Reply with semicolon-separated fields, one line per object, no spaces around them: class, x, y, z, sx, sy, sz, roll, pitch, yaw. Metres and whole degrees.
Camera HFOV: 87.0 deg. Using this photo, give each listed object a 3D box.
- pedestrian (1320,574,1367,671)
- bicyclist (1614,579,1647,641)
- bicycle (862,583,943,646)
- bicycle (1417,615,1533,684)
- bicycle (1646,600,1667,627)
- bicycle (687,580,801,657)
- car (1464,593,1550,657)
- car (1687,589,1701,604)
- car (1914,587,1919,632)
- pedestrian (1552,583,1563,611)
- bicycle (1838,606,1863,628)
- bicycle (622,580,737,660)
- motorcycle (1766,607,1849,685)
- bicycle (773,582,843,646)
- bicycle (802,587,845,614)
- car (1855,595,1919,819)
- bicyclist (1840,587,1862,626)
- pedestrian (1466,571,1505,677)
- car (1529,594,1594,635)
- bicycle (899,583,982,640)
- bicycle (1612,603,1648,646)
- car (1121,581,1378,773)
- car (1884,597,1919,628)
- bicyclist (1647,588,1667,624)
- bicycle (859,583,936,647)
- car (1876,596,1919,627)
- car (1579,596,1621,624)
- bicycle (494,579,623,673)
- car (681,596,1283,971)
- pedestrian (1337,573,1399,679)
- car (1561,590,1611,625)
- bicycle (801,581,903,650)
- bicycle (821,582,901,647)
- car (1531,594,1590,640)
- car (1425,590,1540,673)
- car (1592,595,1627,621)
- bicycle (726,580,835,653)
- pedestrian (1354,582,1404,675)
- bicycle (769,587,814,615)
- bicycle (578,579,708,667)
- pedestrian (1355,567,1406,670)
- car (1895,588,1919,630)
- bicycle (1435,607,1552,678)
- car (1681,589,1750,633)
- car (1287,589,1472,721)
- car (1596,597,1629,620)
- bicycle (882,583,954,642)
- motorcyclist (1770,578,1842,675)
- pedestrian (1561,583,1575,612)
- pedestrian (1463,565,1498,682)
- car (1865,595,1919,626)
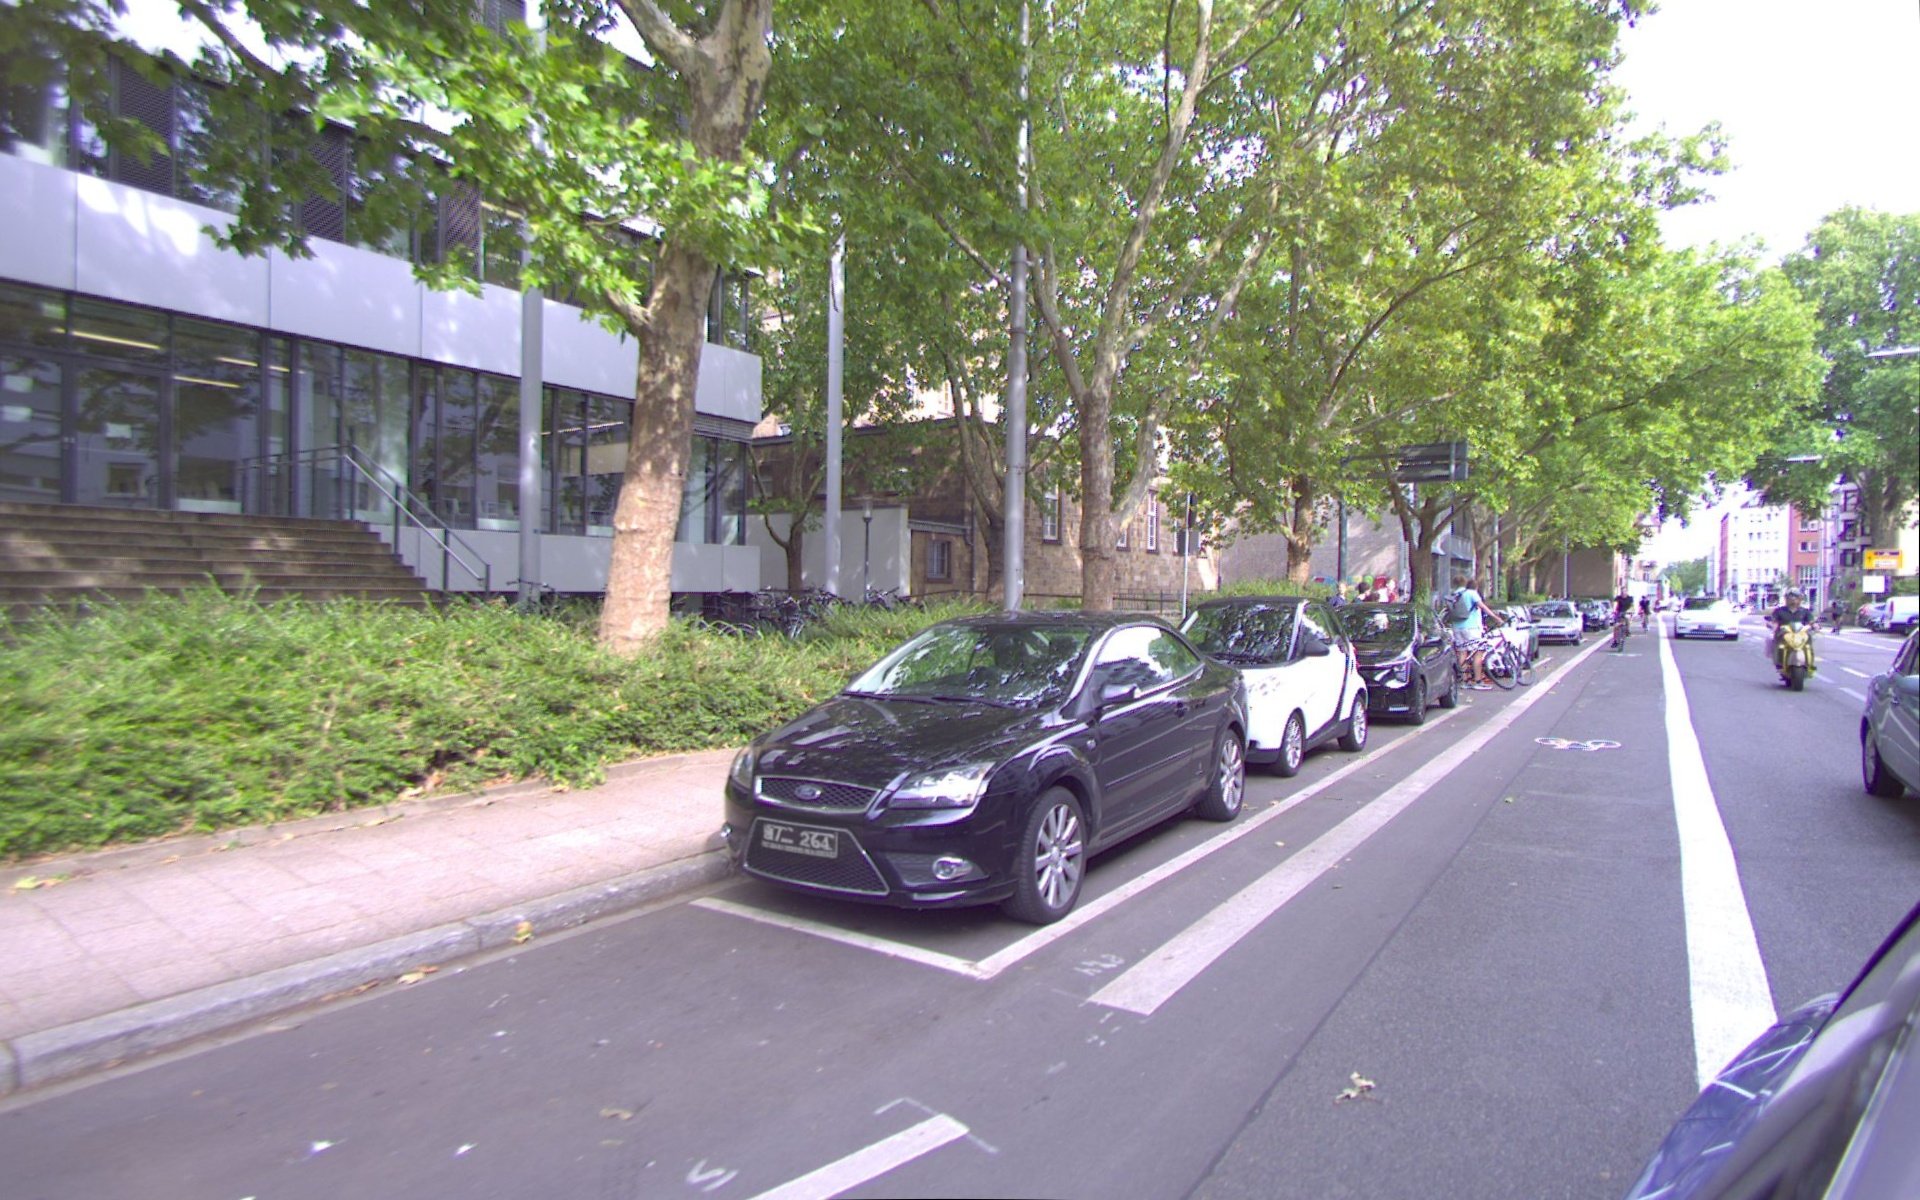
pedestrian;7.621;0.426;20.098;0.719;1.878;0.694;-1;0;36
bicyclist;19.185;0.277;28.947;0.760;1.730;0.905;0;0;36
bicycle;-1.103;0.255;19.311;1.530;1.131;0.464;2;1;29
bicycle;8.689;0.817;17.138;1.722;1.119;0.547;0;0;25
bicycle;31.945;0.615;46.416;0.759;1.183;1.924;0;0;36
bicycle;-3.479;0.269;16.208;1.910;1.131;0.664;2;1;36
car;13.815;0.589;25.457;1.580;1.468;3.761;-2;-1;33
car;129.474;-0.594;178.628;1.988;2.593;4.736;0;0;36
car;44.254;0.351;43.280;4.754;1.959;1.967;-2;-1;37
pedestrian;38.784;-0.182;65.681;0.499;1.807;0.521;5;3;35
bicycle;42.730;0.805;48.562;0.644;1.027;2.051;0;1;35
bicycle;-4.337;0.280;15.586;1.910;1.131;0.664;2;1;36
motorcycle;14.635;0.747;17.540;0.900;1.212;2.596;1;1;36
bicycle;-2.784;0.244;18.696;0.488;1.131;1.422;2;1;30
bicycle;-4.694;0.004;34.696;1.618;0.889;0.501;1;3;41
car;7.113;0.696;6.371;1.707;1.438;4.200;1;1;35
bicyclist;42.660;0.302;48.457;0.650;1.833;1.032;0;0;35
pedestrian;9.549;0.423;18.401;0.515;1.868;0.739;0;0;21
car;22.889;0.515;38.451;1.749;1.465;4.164;-1;-1;36
bicycle;-0.411;0.229;21.383;1.665;1.131;0.598;2;1;30
bicycle;19.120;0.676;28.864;0.759;1.183;1.924;0;0;36
car;2.855;0.623;9.739;1.532;1.563;2.563;-1;0;38
car;49.558;0.583;50.979;4.254;1.530;1.696;-2;-1;37
bicyclist;31.957;0.257;46.419;0.745;1.619;0.808;0;0;36
bicycle;-1.169;0.263;18.815;1.370;1.131;0.464;2;1;29
car;50.717;0.563;52.647;4.350;1.569;1.709;-2;-1;37
car;34.006;0.511;53.722;1.634;1.450;4.515;-1;-1;35
bicycle;-5.335;0.310;13.404;1.910;1.131;0.664;2;1;36
car;0.540;0.709;6.235;1.690;1.443;4.370;-1;0;33
pedestrian;7.354;0.450;18.241;0.868;1.840;0.770;-1;0;36
car;30.477;0.355;49.194;1.913;1.642;4.427;-1;-1;34
bicycle;-1.916;0.259;17.909;1.676;1.131;0.620;2;1;17
bicycle;-1.822;0.255;18.549;1.366;1.131;0.507;2;1;22
car;20.542;0.546;34.648;1.634;1.465;3.840;-1;-1;31
car;10.946;0.598;21.044;1.673;1.535;4.491;-2;-1;33
car;39.680;0.478;61.806;1.593;1.524;4.383;-1;-1;35
bicycle;-3.076;0.255;17.245;1.910;1.131;0.664;2;1;36
pedestrian;7.811;0.519;18.858;0.719;1.679;0.646;-1;0;36
bicycle;-5.817;0.015;35.054;0.477;0.889;1.601;1;3;41
bicycle;-4.558;0.294;14.471;2.073;1.131;0.664;2;1;36
pedestrian;8.431;0.362;20.297;0.790;2.022;0.740;-1;0;36
car;45.334;0.348;45.509;4.604;1.883;1.924;-2;-1;37
bicycle;9.503;0.746;18.096;1.771;1.233;0.550;0;0;19
car;29.080;0.389;39.055;1.989;1.585;4.493;0;1;35
car;5.700;0.626;13.529;1.523;1.521;3.613;-1;0;35
car;42.556;0.552;65.949;1.593;1.465;4.052;-1;-1;35
bicycle;-0.864;0.240;20.462;1.439;1.131;0.463;2;1;33
motorcyclist;14.645;0.439;17.540;0.900;1.638;0.682;1;0;37
pedestrian;39.140;-0.165;65.165;0.589;1.807;0.470;5;3;35
pedestrian;8.903;0.393;17.315;0.471;1.959;0.738;0;0;24
car;51.963;0.541;54.567;4.506;1.626;1.730;-2;-1;37
